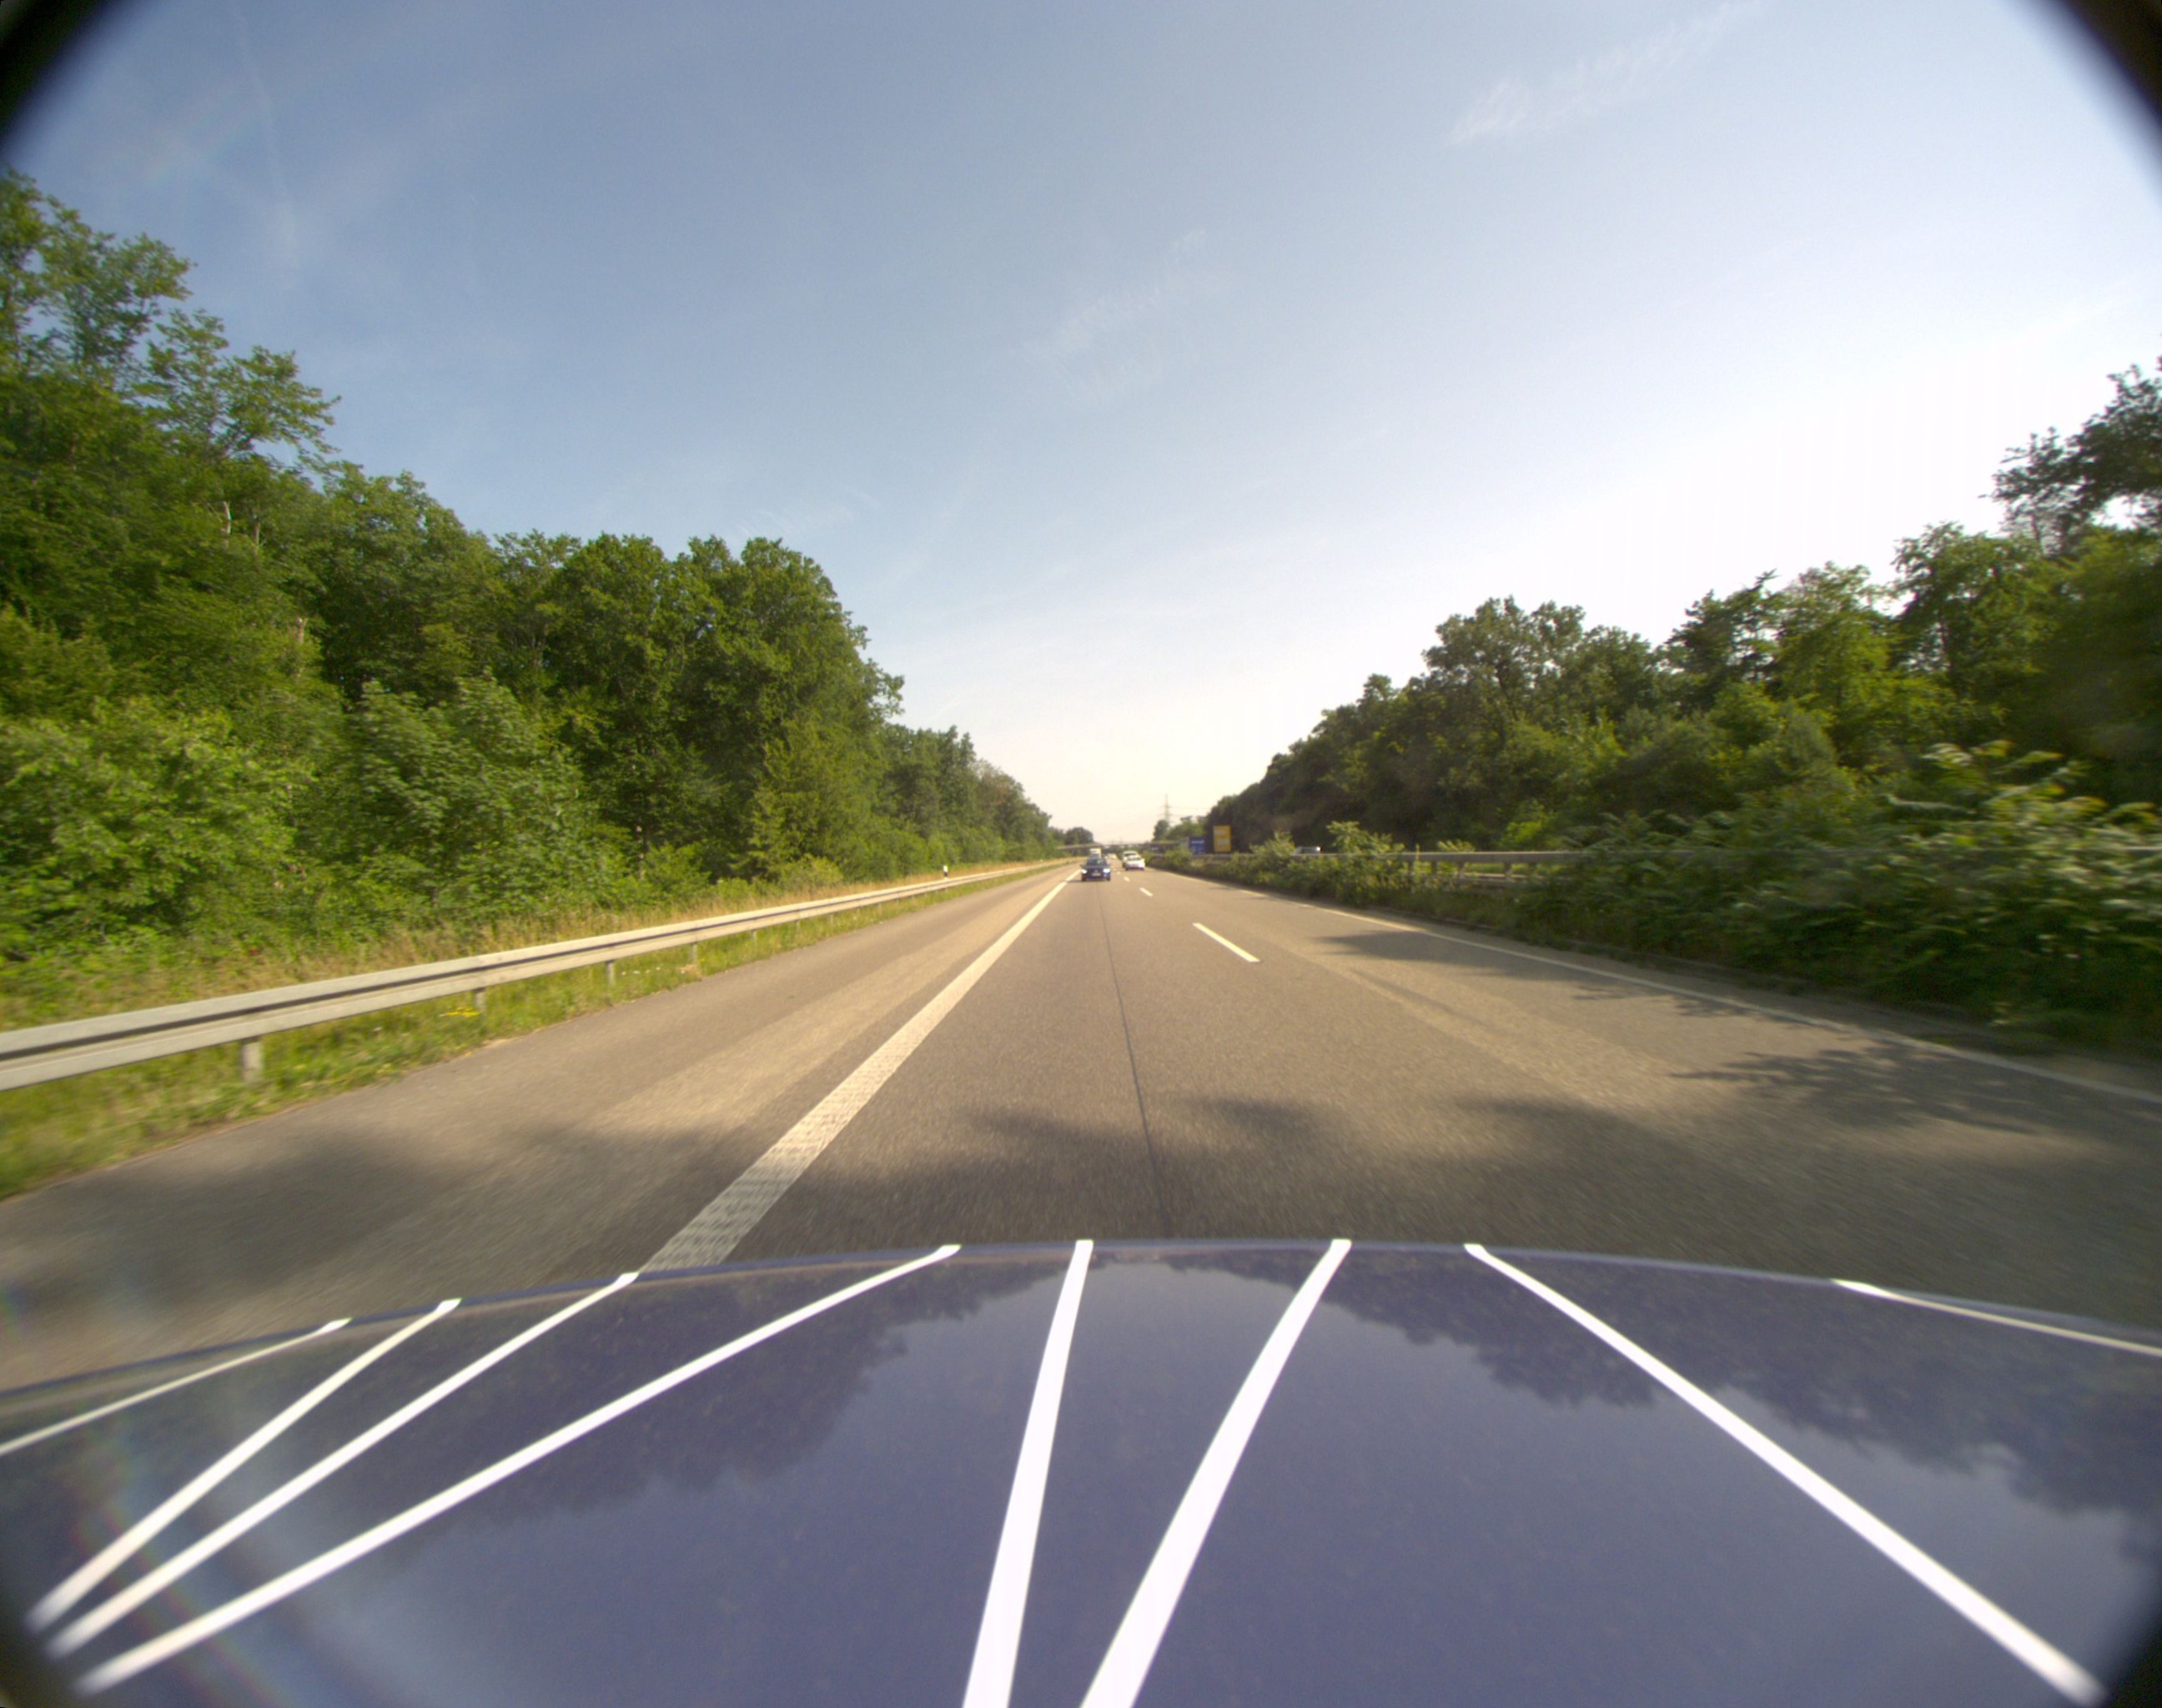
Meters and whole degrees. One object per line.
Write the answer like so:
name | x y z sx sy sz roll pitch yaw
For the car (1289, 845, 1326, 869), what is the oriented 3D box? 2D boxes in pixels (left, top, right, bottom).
car | 16.716 0.198 56.224 1.655 1.681 3.505 -2 0 -1

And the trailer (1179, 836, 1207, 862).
trailer | 18.164 -0.776 123.687 2.900 3.984 13.323 0 0 1

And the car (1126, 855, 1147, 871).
car | 5.396 0.868 74.954 1.754 1.477 5.263 -2 0 1

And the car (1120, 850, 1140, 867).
car | 5.982 0.527 93.536 1.913 1.934 4.705 -2 0 -2

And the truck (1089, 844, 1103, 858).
truck | 3.247 -0.687 166.774 2.695 3.020 10.370 -2 0 -1

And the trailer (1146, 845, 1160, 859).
trailer | 21.076 -0.506 222.389 2.973 4.046 14.317 -1 0 1

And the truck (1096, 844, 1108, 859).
truck | 6.094 -0.702 219.779 2.695 4.061 12.363 -2 0 -1

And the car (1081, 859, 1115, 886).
car | 0.902 0.990 41.769 1.789 1.285 3.538 -2 0 0
